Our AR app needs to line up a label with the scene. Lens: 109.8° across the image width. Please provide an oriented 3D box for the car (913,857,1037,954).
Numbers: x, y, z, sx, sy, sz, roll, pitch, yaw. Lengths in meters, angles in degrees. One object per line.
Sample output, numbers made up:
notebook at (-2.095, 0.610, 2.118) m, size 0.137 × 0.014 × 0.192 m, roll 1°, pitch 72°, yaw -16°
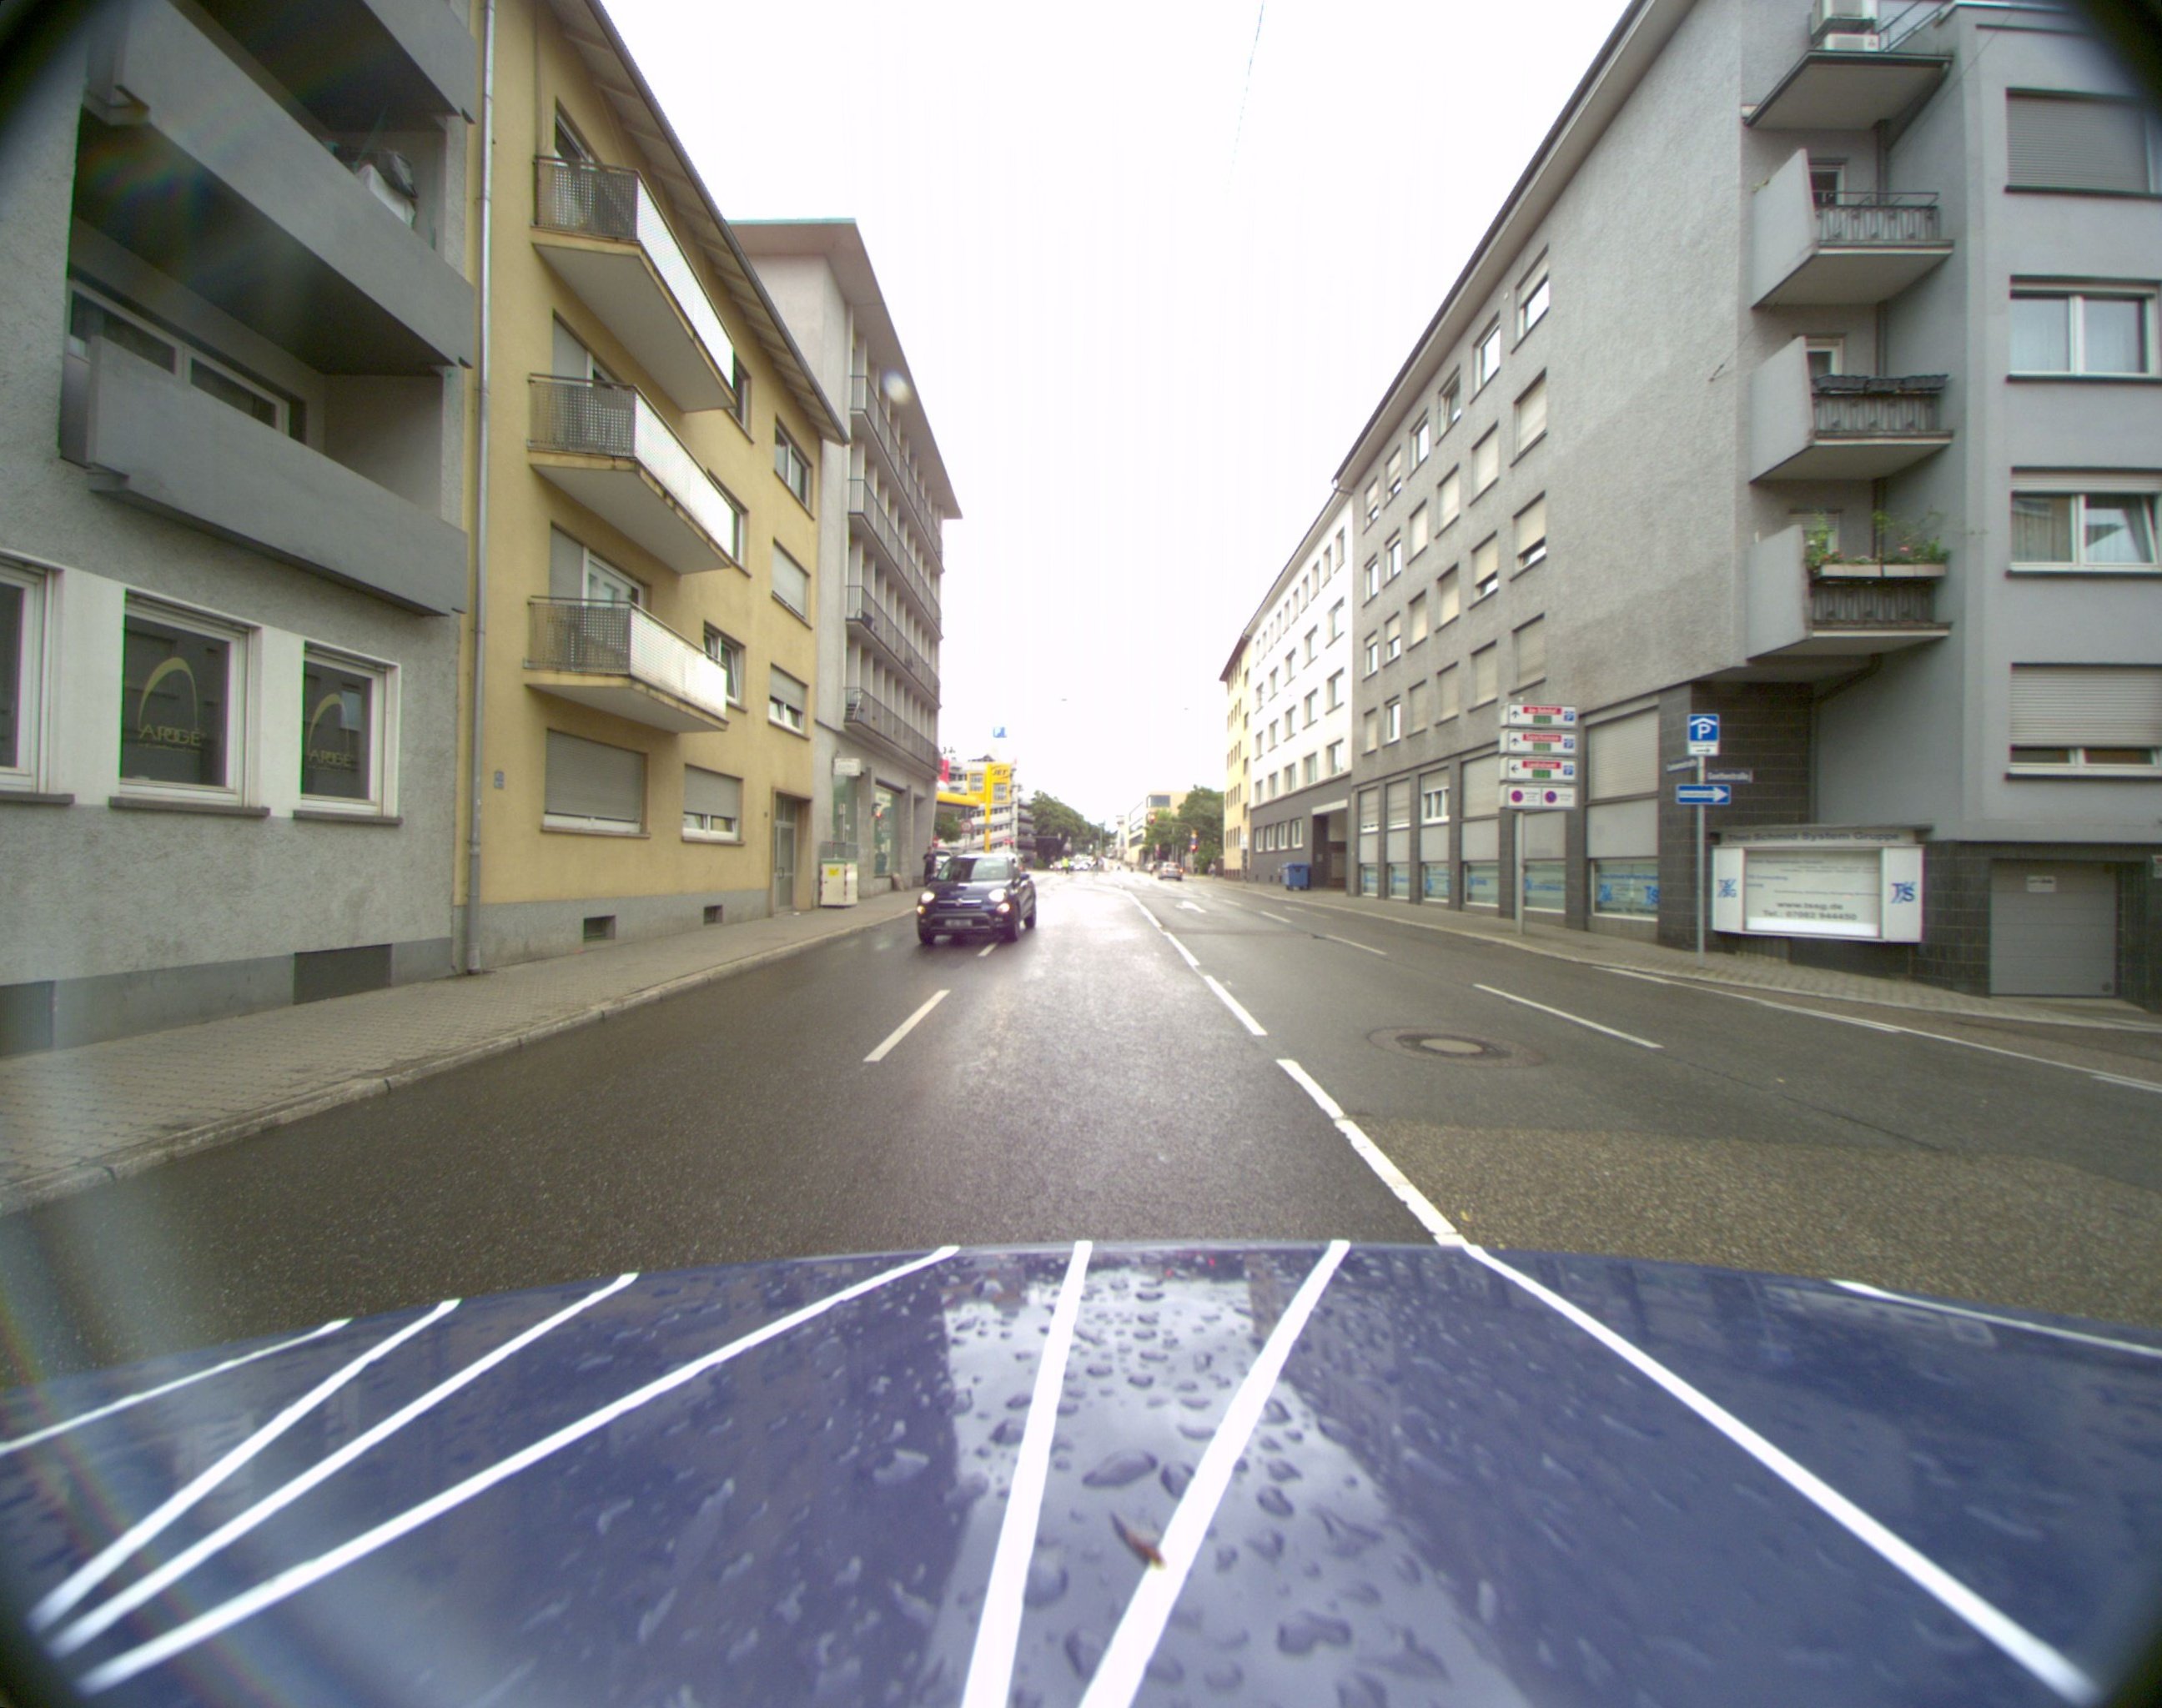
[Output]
car at (-1.894, 0.874, 14.738) m, size 1.771 × 1.571 × 4.000 m, roll -1°, pitch 0°, yaw 1°

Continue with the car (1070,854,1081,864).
car at (-1.100, 1.080, 157.524) m, size 1.998 × 2.002 × 3.999 m, roll -2°, pitch 1°, yaw 0°

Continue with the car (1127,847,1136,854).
car at (12.875, -0.988, 192.705) m, size 1.998 × 1.683 × 4.000 m, roll -2°, pitch 1°, yaw 2°

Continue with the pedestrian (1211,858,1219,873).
pedestrian at (11.104, 0.957, 63.154) m, size 0.582 × 1.143 × 0.407 m, roll 3°, pitch 1°, yaw 14°

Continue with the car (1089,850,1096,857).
car at (3.292, -0.248, 221.550) m, size 1.998 × 2.002 × 3.999 m, roll -2°, pitch 1°, yaw 1°

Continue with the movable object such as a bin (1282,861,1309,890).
movable object such as a bin at (10.333, 1.030, 36.651) m, size 0.946 × 1.325 × 1.096 m, roll -3°, pitch 1°, yaw 1°

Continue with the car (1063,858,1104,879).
car at (0.283, 1.371, 72.343) m, size 3.794 × 1.823 × 1.692 m, roll -3°, pitch 0°, yaw 2°

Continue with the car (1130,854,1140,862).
car at (12.470, 0.831, 176.270) m, size 1.998 × 1.683 × 4.000 m, roll -2°, pitch 1°, yaw 2°

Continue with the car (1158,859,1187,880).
car at (7.421, 1.226, 61.943) m, size 1.883 × 1.580 × 4.373 m, roll 0°, pitch 0°, yaw 1°

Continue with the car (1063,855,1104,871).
car at (0.272, 0.855, 74.662) m, size 3.996 × 1.499 × 1.738 m, roll 1°, pitch 1°, yaw 2°

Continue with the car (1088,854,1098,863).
car at (2.525, 0.911, 161.689) m, size 1.998 × 1.736 × 3.999 m, roll -2°, pitch 1°, yaw 0°

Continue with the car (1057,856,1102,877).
car at (-0.123, 1.100, 68.834) m, size 3.930 × 1.706 × 1.902 m, roll -3°, pitch 0°, yaw -2°

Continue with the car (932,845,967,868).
car at (-9.293, 0.199, 53.580) m, size 1.773 × 1.465 × 3.994 m, roll -2°, pitch 0°, yaw -18°

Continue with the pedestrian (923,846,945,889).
pedestrian at (-6.014, 0.550, 31.182) m, size 0.679 × 1.745 × 0.888 m, roll 1°, pitch 1°, yaw 2°

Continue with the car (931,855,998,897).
car at (-4.364, 0.780, 29.032) m, size 1.803 × 1.427 × 4.166 m, roll 1°, pitch 0°, yaw 1°

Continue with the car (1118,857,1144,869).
car at (7.840, 1.369, 119.910) m, size 3.995 × 1.736 × 2.000 m, roll -2°, pitch 1°, yaw 5°

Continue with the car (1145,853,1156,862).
car at (15.469, 0.695, 170.046) m, size 1.998 × 1.863 × 3.999 m, roll -2°, pitch 1°, yaw 0°
